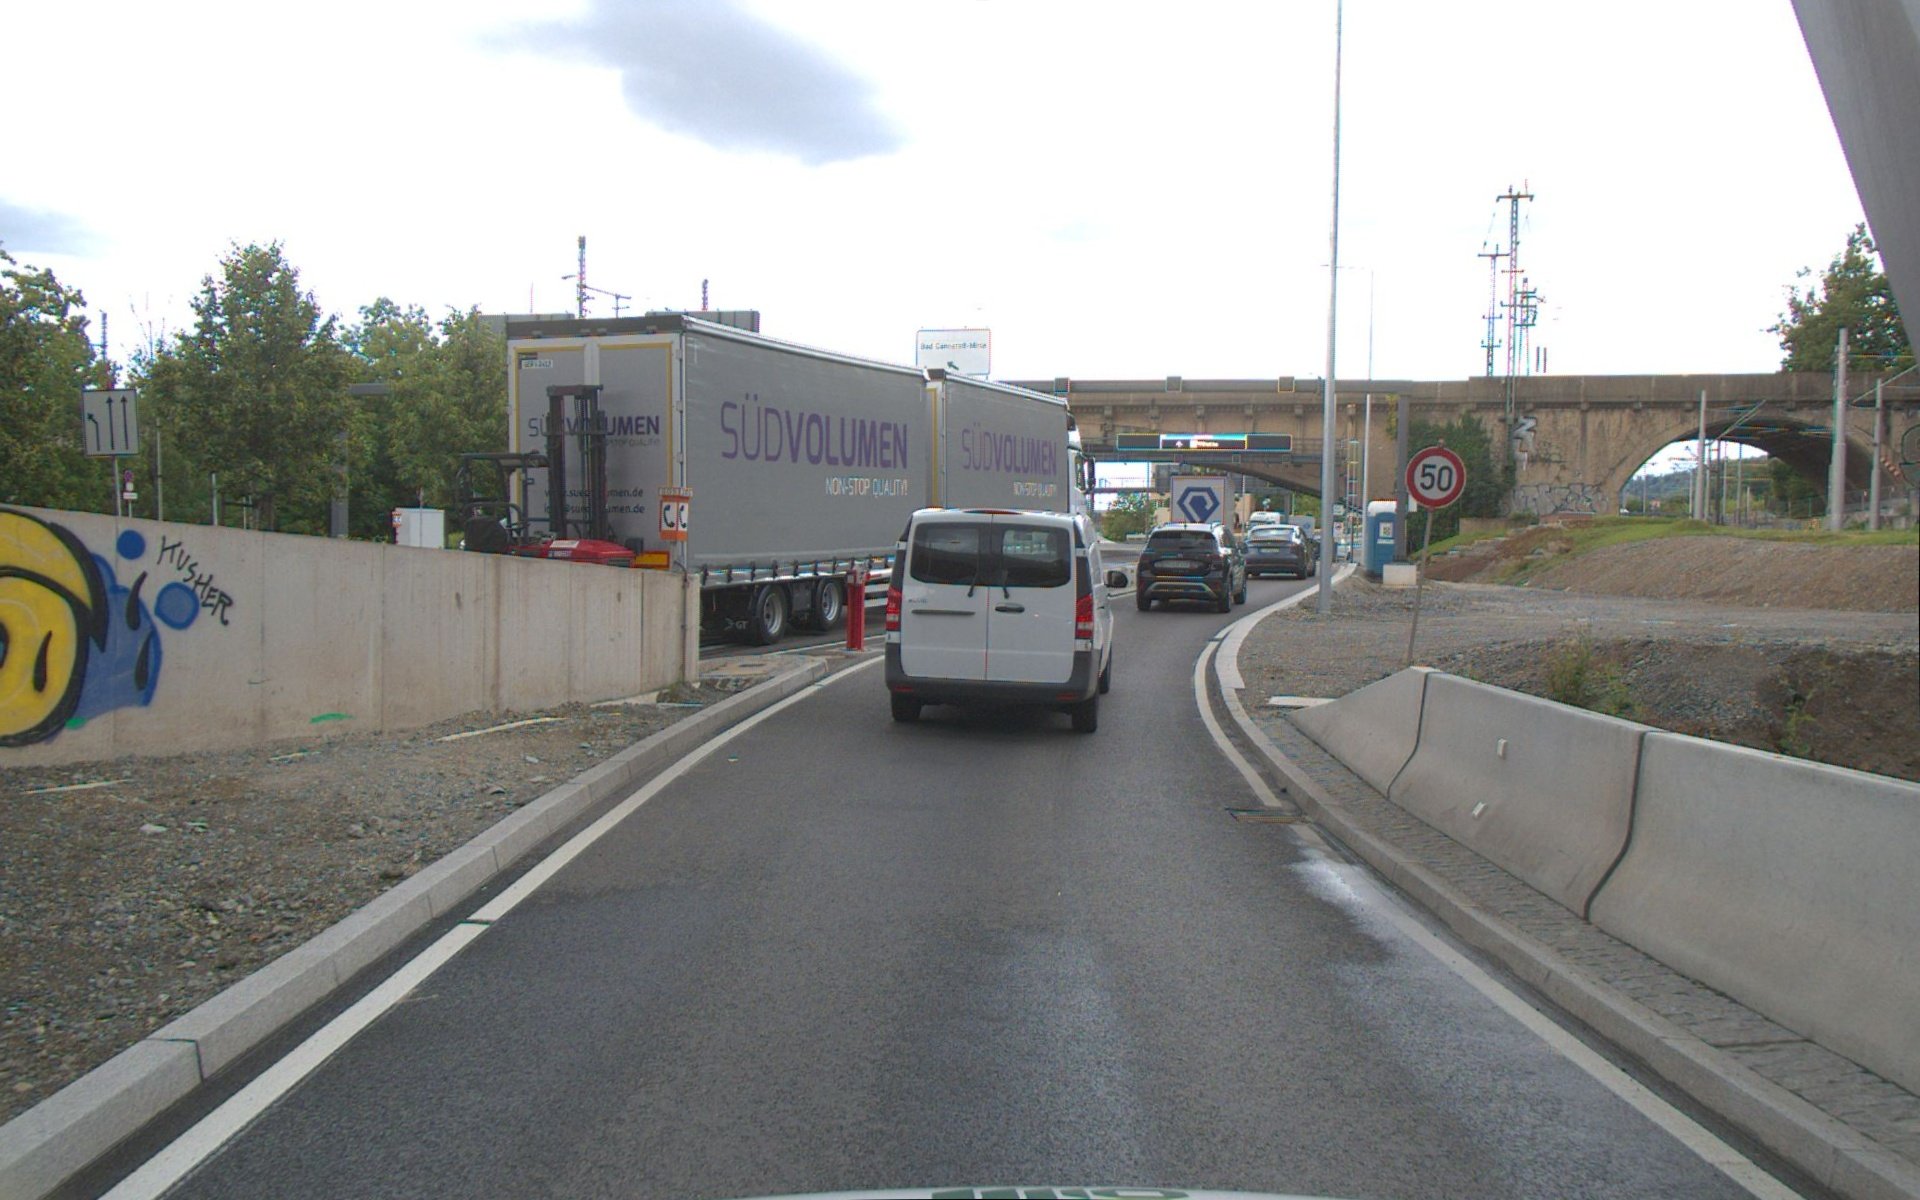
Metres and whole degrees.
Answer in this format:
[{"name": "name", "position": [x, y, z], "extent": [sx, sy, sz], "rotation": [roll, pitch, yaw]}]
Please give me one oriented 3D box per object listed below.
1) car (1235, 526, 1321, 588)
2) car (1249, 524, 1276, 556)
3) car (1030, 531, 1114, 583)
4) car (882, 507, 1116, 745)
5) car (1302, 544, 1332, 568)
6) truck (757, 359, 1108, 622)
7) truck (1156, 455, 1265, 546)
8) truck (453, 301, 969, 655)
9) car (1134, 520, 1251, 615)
[{"name": "car", "position": [8.606, -1.141, 44.610], "extent": [1.471, 1.494, 3.396], "rotation": [2, 0, 25]}, {"name": "car", "position": [22.117, -4.378, 121.004], "extent": [1.857, 2.152, 4.489], "rotation": [3, 0, 10]}, {"name": "car", "position": [3.846, -1.427, 56.300], "extent": [1.952, 1.579, 4.002], "rotation": [2, 0, 17]}, {"name": "car", "position": [0.531, 0.097, 15.939], "extent": [1.836, 1.923, 4.758], "rotation": [1, 3, 6]}, {"name": "car", "position": [31.239, -3.836, 144.662], "extent": [1.859, 1.840, 4.486], "rotation": [3, 0, 20]}, {"name": "truck", "position": [-0.057, -2.220, 32.529], "extent": [2.926, 4.246, 11.247], "rotation": [3, 5, 20]}, {"name": "truck", "position": [12.509, -4.681, 80.838], "extent": [3.247, 3.874, 16.609], "rotation": [3, 3, 15]}, {"name": "truck", "position": [-3.026, -1.694, 24.397], "extent": [2.858, 4.085, 10.204], "rotation": [3, 3, 21]}, {"name": "car", "position": [4.435, -0.645, 31.200], "extent": [1.712, 1.653, 3.848], "rotation": [1, 2, 15]}]
